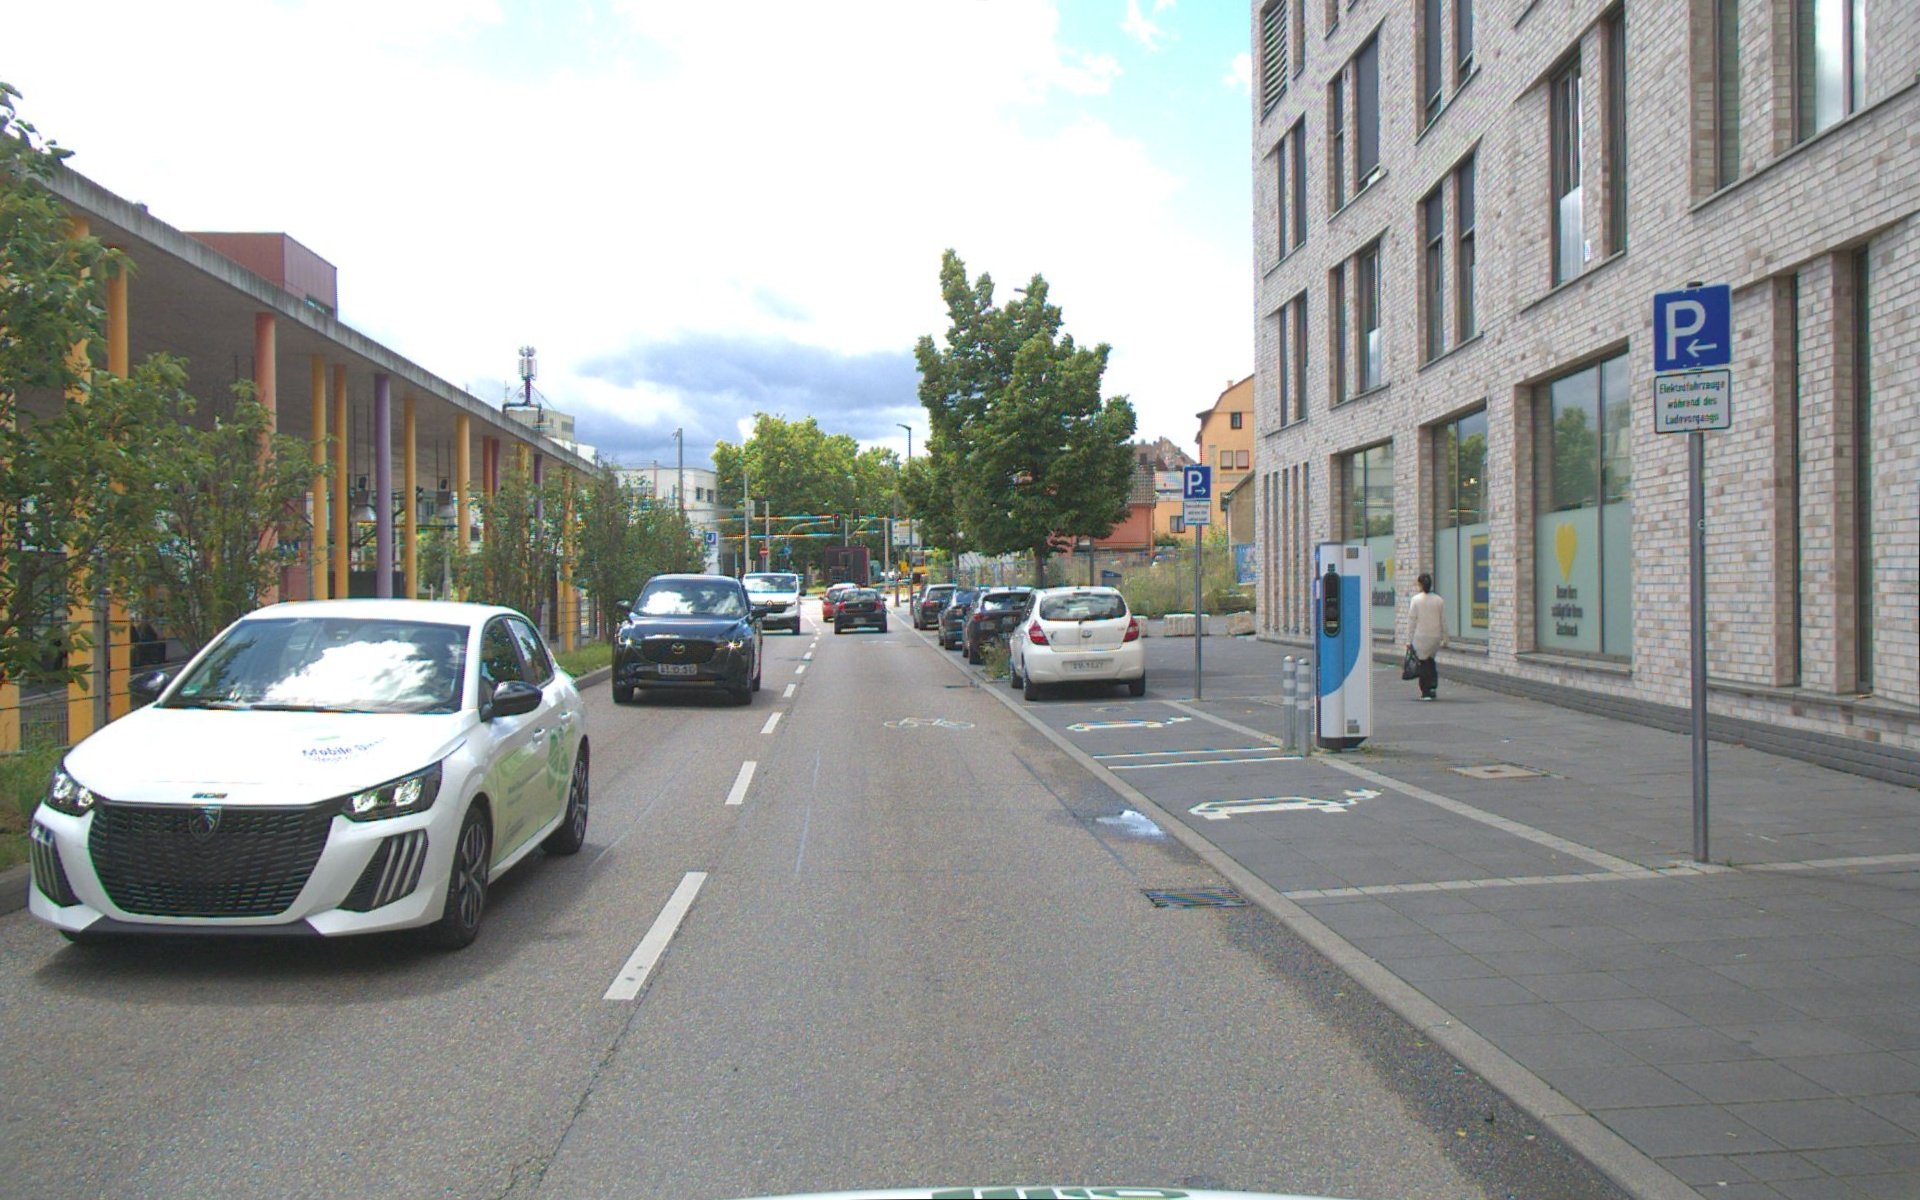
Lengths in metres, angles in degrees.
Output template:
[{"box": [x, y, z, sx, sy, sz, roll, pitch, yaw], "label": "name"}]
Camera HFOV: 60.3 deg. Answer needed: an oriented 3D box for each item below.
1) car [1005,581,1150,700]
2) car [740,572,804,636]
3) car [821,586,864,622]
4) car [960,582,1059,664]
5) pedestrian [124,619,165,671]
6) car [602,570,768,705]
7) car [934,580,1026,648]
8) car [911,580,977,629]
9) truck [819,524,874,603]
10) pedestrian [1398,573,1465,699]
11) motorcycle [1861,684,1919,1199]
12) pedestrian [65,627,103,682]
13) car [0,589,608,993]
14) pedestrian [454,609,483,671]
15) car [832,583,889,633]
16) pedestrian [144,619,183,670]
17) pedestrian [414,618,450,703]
[{"box": [1.619, 0.522, 23.876, 1.658, 1.509, 3.796, -2, 1, -2], "label": "car"}, {"box": [-6.078, 0.112, 53.295, 1.966, 1.950, 5.057, 0, 0, -7], "label": "car"}, {"box": [-5.065, 0.151, 71.042, 1.679, 1.417, 3.804, -2, 1, -6], "label": "car"}, {"box": [0.938, 0.409, 33.295, 1.659, 1.486, 4.145, -2, 1, -2], "label": "car"}, {"box": [-22.709, 1.241, 46.084, 0.806, 1.403, 0.701, 0, 1, -3], "label": "pedestrian"}, {"box": [-3.622, 0.450, 22.505, 1.882, 1.633, 4.621, 0, 0, -5], "label": "car"}, {"box": [0.421, 0.299, 39.797, 1.828, 1.476, 4.640, -2, 1, -3], "label": "car"}, {"box": [-0.564, 0.111, 54.408, 1.747, 1.477, 4.471, -3, 1, -5], "label": "car"}, {"box": [-7.046, -2.176, 104.036, 3.139, 4.615, 9.024, 0, -1, -2], "label": "truck"}, {"box": [5.755, 0.425, 20.224, 0.594, 1.498, 0.791, -2, 1, 4], "label": "pedestrian"}, {"box": [2.860, 0.777, 2.983, 2.007, 1.288, 0.673, -3, -1, 14], "label": "motorcycle"}, {"box": [-22.928, 1.419, 43.281, 0.638, 1.403, 0.701, 0, 1, -3], "label": "pedestrian"}, {"box": [-2.954, 0.704, 8.116, 1.775, 1.494, 3.905, 0, 0, -3], "label": "car"}, {"box": [-13.395, 1.079, 45.043, 0.617, 1.642, 0.636, 0, 1, -3], "label": "pedestrian"}, {"box": [-3.265, 0.231, 53.609, 1.693, 1.482, 3.805, -2, 1, -5], "label": "car"}, {"box": [-22.719, 1.260, 47.183, 0.806, 1.403, 0.701, 0, 1, -3], "label": "pedestrian"}, {"box": [-11.761, 1.345, 36.870, 0.575, 1.862, 0.709, 0, -2, -2], "label": "pedestrian"}]
